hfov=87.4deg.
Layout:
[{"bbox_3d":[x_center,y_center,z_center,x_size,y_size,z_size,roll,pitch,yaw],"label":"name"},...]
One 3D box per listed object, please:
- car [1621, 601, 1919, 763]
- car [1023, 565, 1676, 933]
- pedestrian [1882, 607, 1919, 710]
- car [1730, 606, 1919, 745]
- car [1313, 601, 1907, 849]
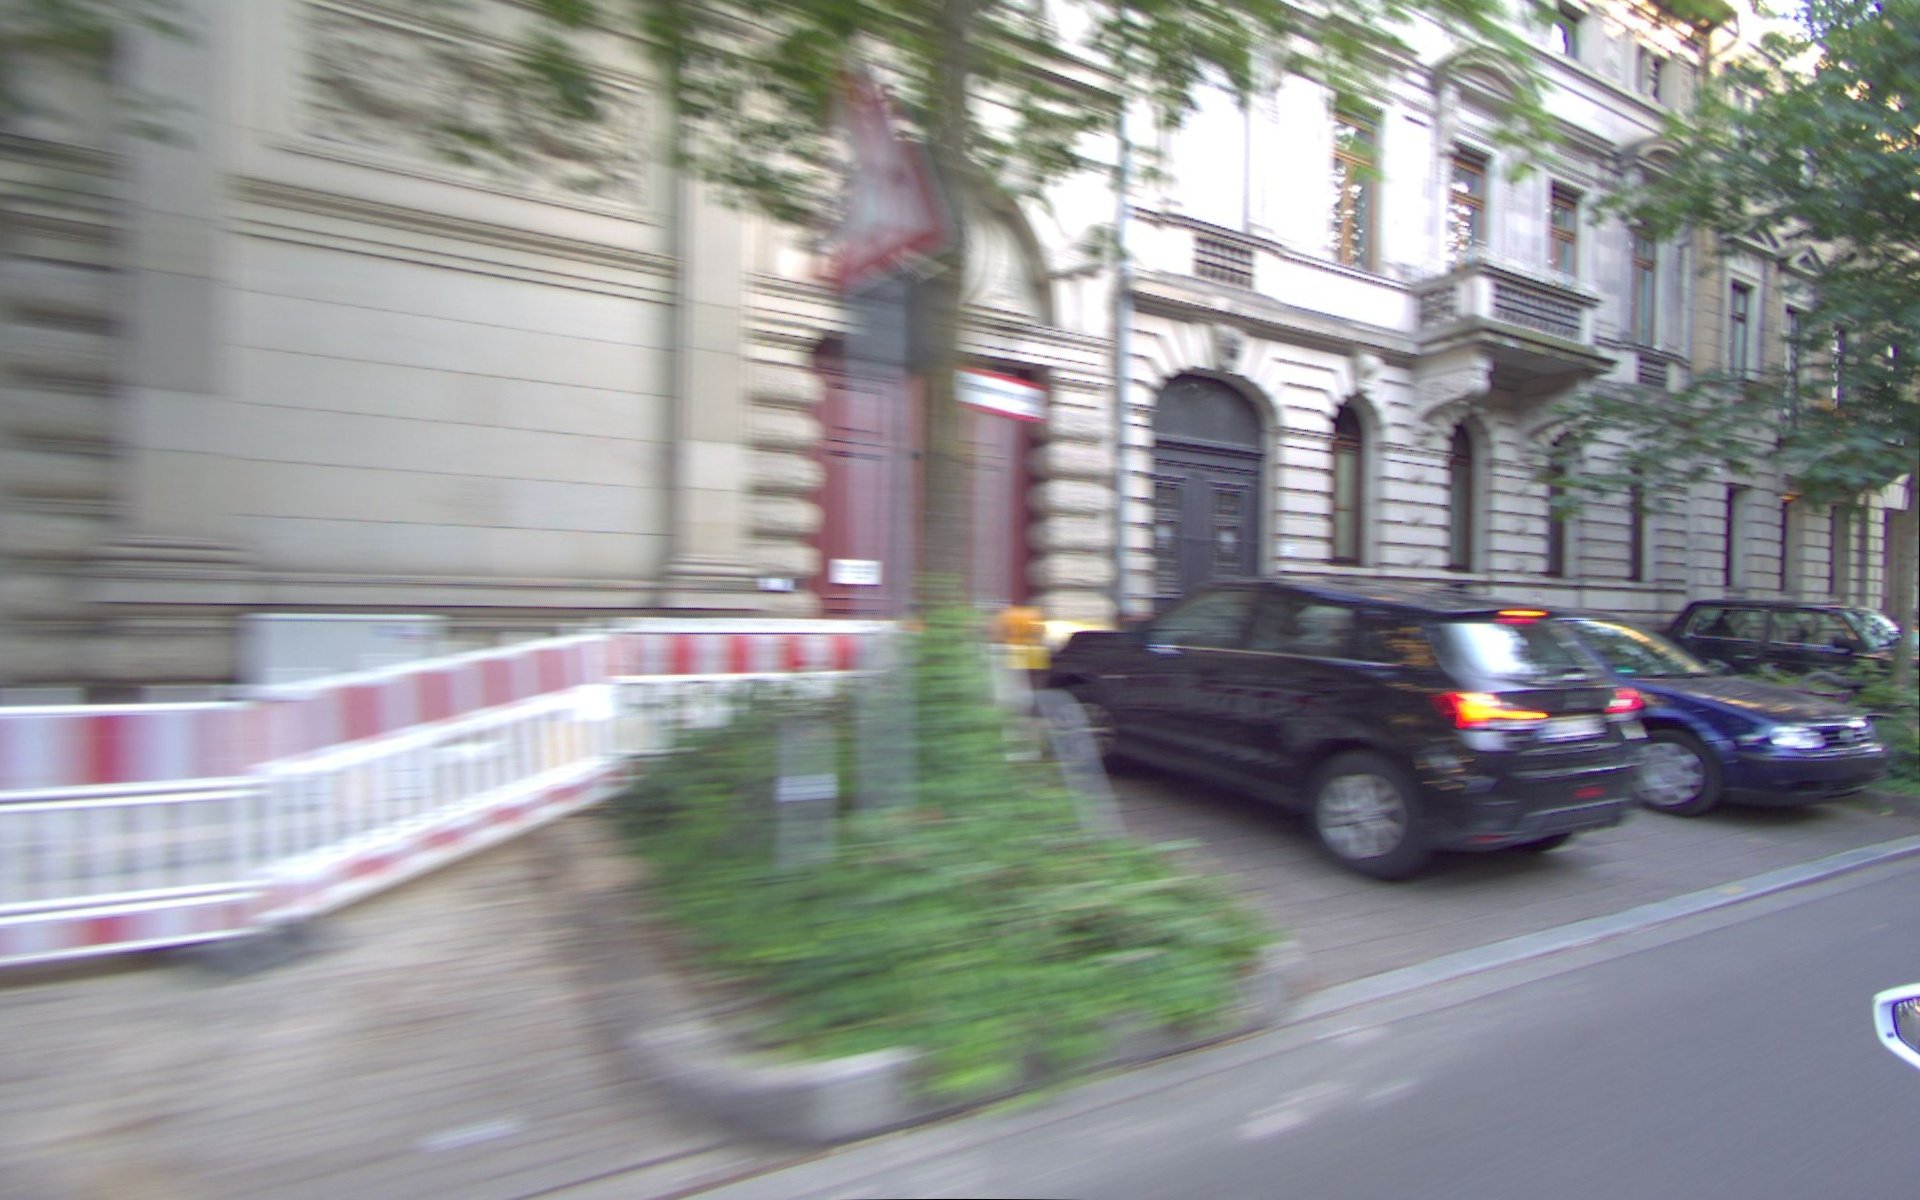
[{"bbox_3d":[10.684,0.917,12.448,1.694,1.694,3.782,0,2,-30],"label":"car"},{"bbox_3d":[2.273,0.681,6.969,1.759,1.618,3.946,1,3,-29],"label":"car"},{"bbox_3d":[16.739,1.010,17.557,0.727,1.762,0.666,1,1,-27],"label":"pedestrian"},{"bbox_3d":[13.002,1.005,13.183,1.884,1.694,4.182,0,1,-29],"label":"car"},{"bbox_3d":[5.257,0.830,8.740,1.743,1.406,3.948,0,3,-28],"label":"car"}]
